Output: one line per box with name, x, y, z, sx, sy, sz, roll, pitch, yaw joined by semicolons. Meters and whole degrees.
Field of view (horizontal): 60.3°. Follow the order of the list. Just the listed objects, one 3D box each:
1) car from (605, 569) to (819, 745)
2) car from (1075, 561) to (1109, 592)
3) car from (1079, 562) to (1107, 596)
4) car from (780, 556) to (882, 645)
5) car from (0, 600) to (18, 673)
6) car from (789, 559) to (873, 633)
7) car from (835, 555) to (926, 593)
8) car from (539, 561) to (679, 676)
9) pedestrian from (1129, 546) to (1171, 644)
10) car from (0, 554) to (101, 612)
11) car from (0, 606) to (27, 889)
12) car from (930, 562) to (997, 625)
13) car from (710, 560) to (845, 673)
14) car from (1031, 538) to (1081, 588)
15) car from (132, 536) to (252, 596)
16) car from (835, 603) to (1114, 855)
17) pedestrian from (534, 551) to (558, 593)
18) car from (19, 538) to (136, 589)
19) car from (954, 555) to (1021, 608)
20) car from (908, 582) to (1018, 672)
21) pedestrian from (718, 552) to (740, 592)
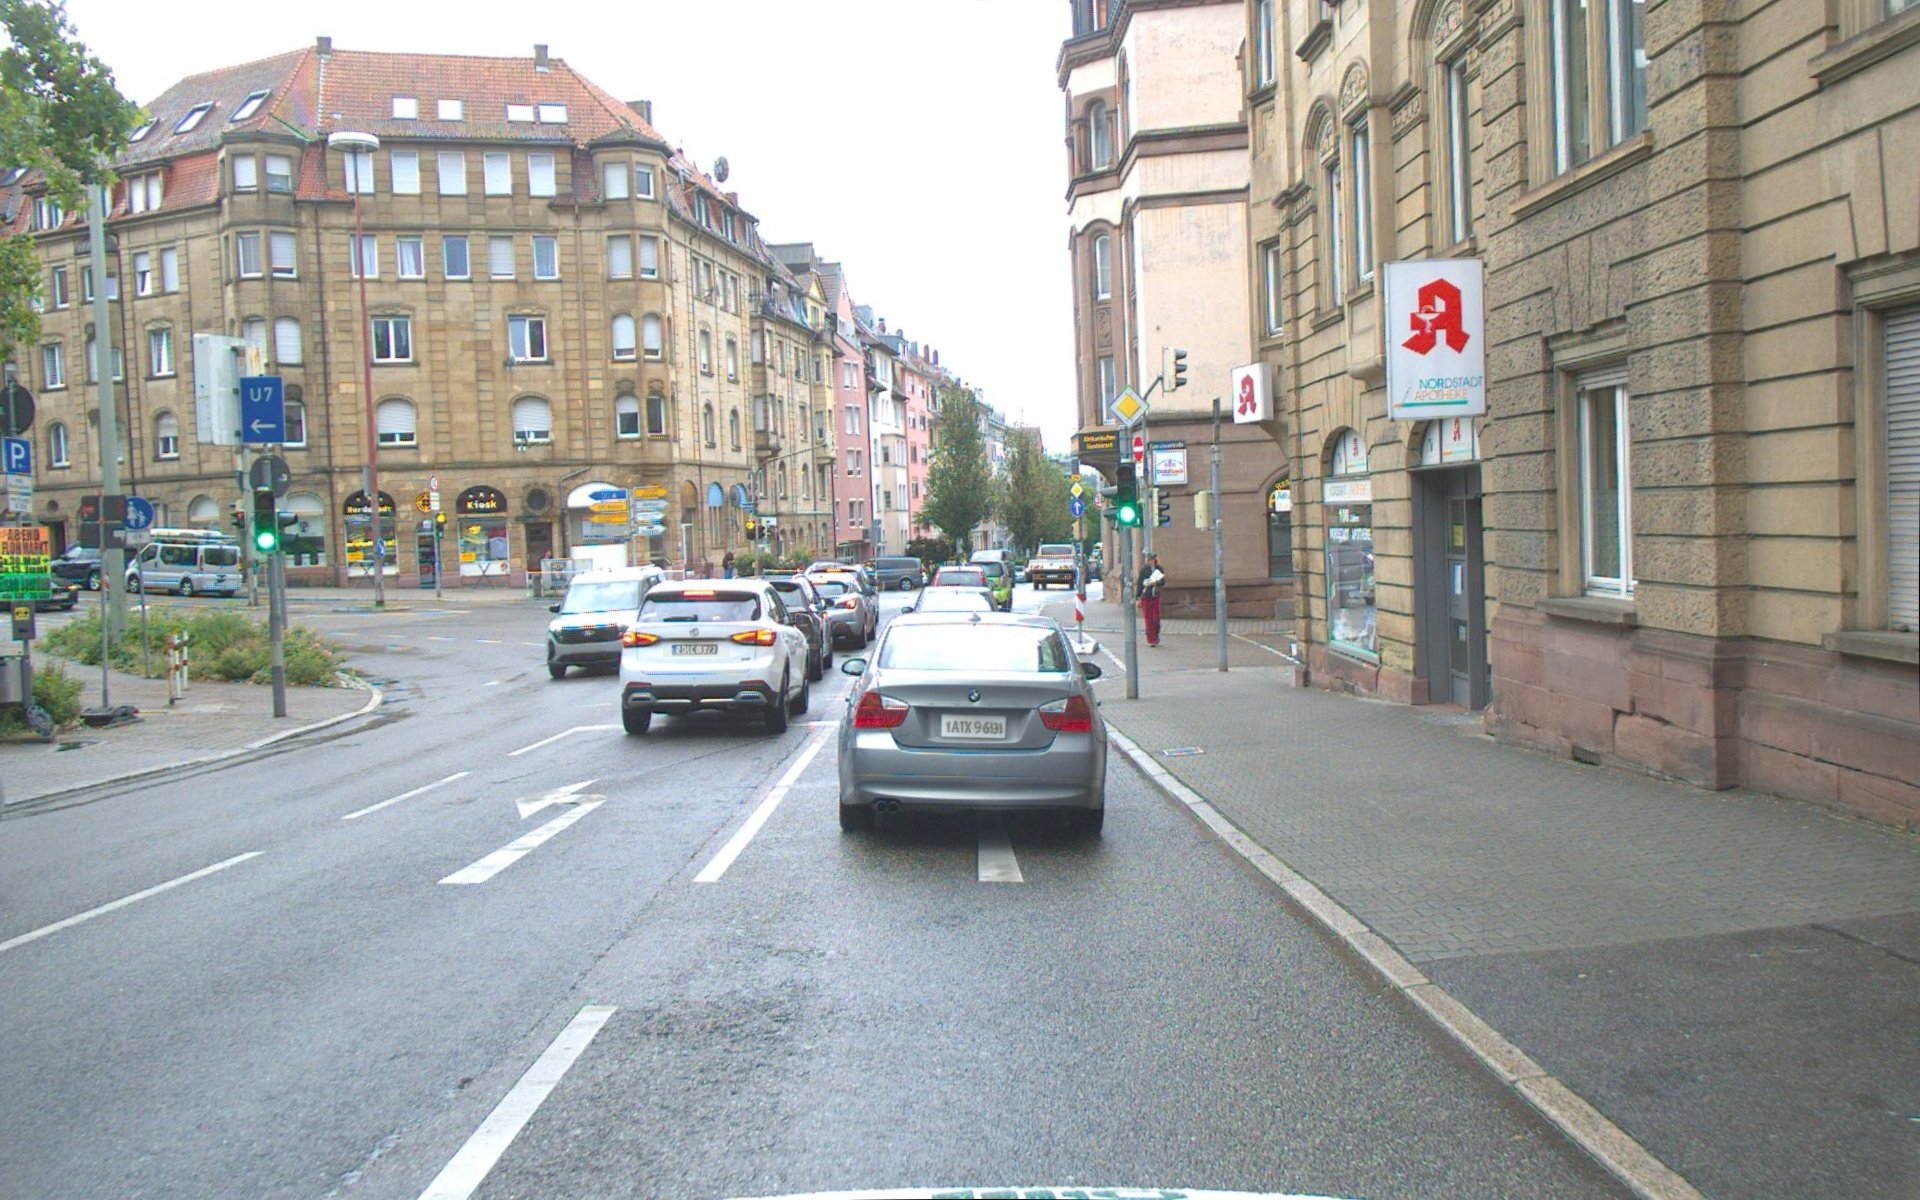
car;-2.711;0.548;18.957;1.830;1.653;4.000;-2;2;-1
car;7.456;-1.305;93.421;1.689;1.579;4.001;1;-1;2
car;8.662;-1.345;107.456;1.689;2.049;4.002;1;-1;5
car;-2.621;-0.008;34.378;1.723;1.737;4.001;0;0;1
car;-28.935;1.088;47.200;3.914;2.049;1.874;-1;0;32
car;-3.179;-0.112;41.367;1.723;1.737;4.001;0;0;1
car;-4.575;-1.491;95.861;5.071;2.049;2.698;1;-1;-1
car;-6.488;0.307;30.989;1.725;1.959;4.323;-1;0;-1
pedestrian;3.829;-0.106;33.403;0.727;1.943;0.659;-1;0;-1
car;-29.139;-0.573;51.913;4.157;1.756;1.996;1;2;31
car;-6.122;0.878;7.054;1.703;1.553;4.471;-4;0;-1
car;0.119;-0.174;41.443;1.562;1.490;4.001;-1;1;1
car;-2.933;0.240;27.354;1.723;1.737;4.001;0;0;1
car;4.275;-1.636;74.075;1.953;2.143;4.000;0;0;0
car;-28.896;-1.290;62.188;4.197;2.138;1.997;2;2;28
car;0.112;0.746;11.294;1.590;1.407;3.615;0;0;1
pedestrian;-15.982;-1.071;63.922;0.712;1.605;0.531;-2;0;-39
car;-33.934;-1.425;63.580;4.197;1.870;1.997;2;2;28
car;0.911;-0.587;52.670;1.722;1.594;4.003;0;1;7
car;0.076;0.413;28.047;1.723;1.407;4.001;0;0;1
pedestrian;-9.275;-1.134;66.509;0.716;1.605;0.528;-1;0;8
